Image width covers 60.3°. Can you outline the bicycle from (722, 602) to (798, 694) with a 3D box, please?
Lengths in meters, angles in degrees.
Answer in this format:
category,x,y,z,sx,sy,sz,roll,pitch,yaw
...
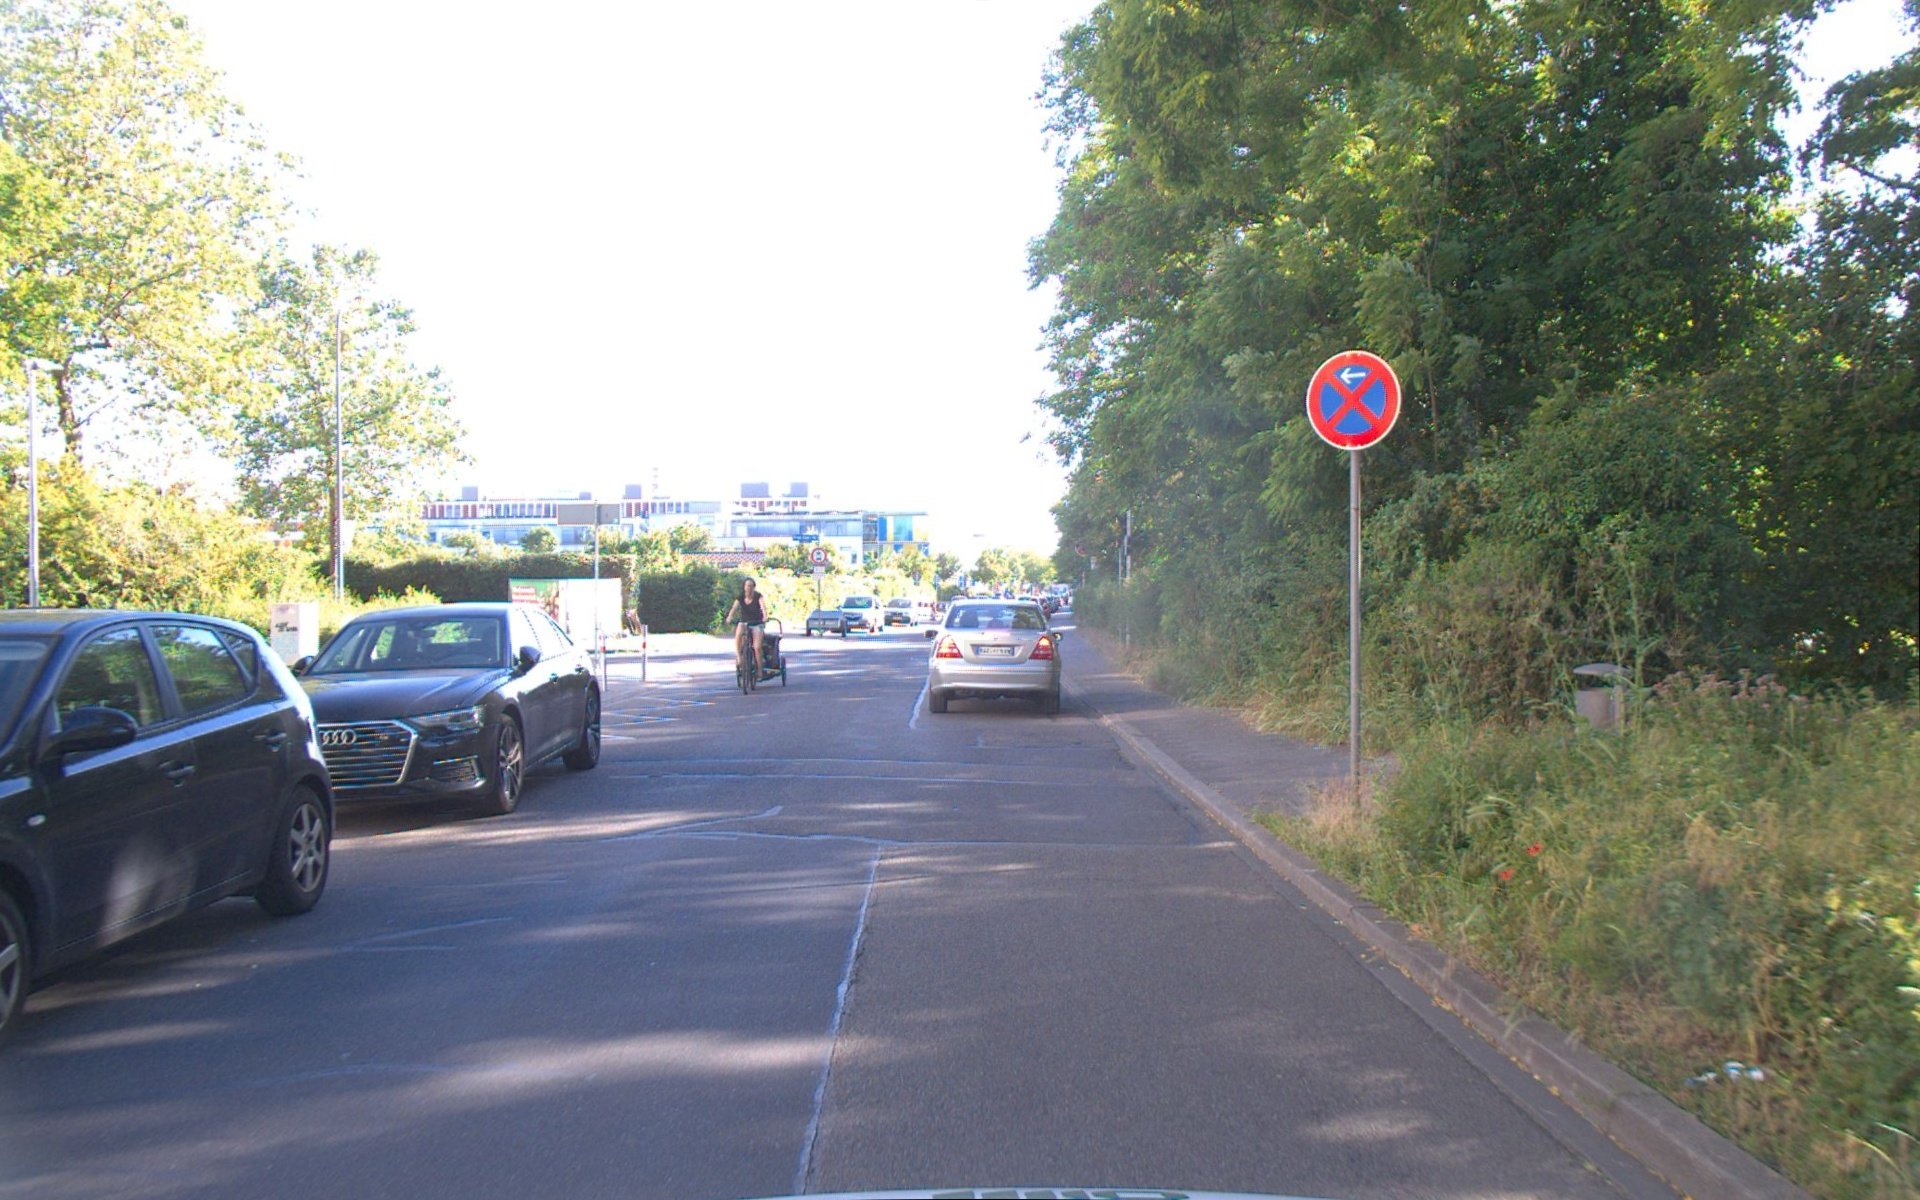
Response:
category,x,y,z,sx,sy,sz,roll,pitch,yaw
bicycle,-3.199,0.735,26.812,0.833,1.394,3.220,-1,0,0

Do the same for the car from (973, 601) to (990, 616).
category,x,y,z,sx,sy,sz,roll,pitch,yaw
car,2.266,0.881,171.400,1.527,1.521,3.760,-1,0,4

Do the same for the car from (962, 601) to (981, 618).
category,x,y,z,sx,sy,sz,roll,pitch,yaw
car,1.074,0.892,154.388,1.527,1.521,3.572,2,0,4

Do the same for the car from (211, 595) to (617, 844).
category,x,y,z,sx,sy,sz,roll,pitch,yaw
car,-3.987,0.761,12.965,1.693,1.489,4.681,-2,1,-2

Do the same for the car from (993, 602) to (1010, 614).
category,x,y,z,sx,sy,sz,roll,pitch,yaw
car,5.037,0.951,200.721,1.815,1.453,4.136,1,0,4

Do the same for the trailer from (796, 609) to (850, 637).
category,x,y,z,sx,sy,sz,roll,pitch,yaw
trailer,-5.070,0.841,61.569,1.511,0.970,2.649,1,0,6

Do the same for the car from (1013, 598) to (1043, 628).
category,x,y,z,sx,sy,sz,roll,pitch,yaw
car,3.689,0.689,89.192,1.523,1.565,3.557,1,0,4

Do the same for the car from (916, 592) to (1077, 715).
category,x,y,z,sx,sy,sz,roll,pitch,yaw
car,0.392,0.656,22.004,1.703,1.478,3.996,1,0,-5

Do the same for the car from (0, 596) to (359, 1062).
category,x,y,z,sx,sy,sz,roll,pitch,yaw
car,-3.990,0.769,6.353,1.802,1.479,4.018,-2,0,1

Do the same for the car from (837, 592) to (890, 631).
category,x,y,z,sx,sy,sz,roll,pitch,yaw
car,-4.141,0.484,71.643,1.608,1.628,4.314,1,0,6

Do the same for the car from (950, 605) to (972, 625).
category,x,y,z,sx,sy,sz,roll,pitch,yaw
car,0.077,1.226,136.213,1.527,1.521,3.572,-1,0,4

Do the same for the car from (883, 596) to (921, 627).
category,x,y,z,sx,sy,sz,roll,pitch,yaw
car,-3.120,0.610,89.347,1.609,1.583,4.419,-1,0,4

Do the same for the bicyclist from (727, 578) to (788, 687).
category,x,y,z,sx,sy,sz,roll,pitch,yaw
bicyclist,-3.202,0.505,26.201,0.827,1.687,1.064,-1,0,0
